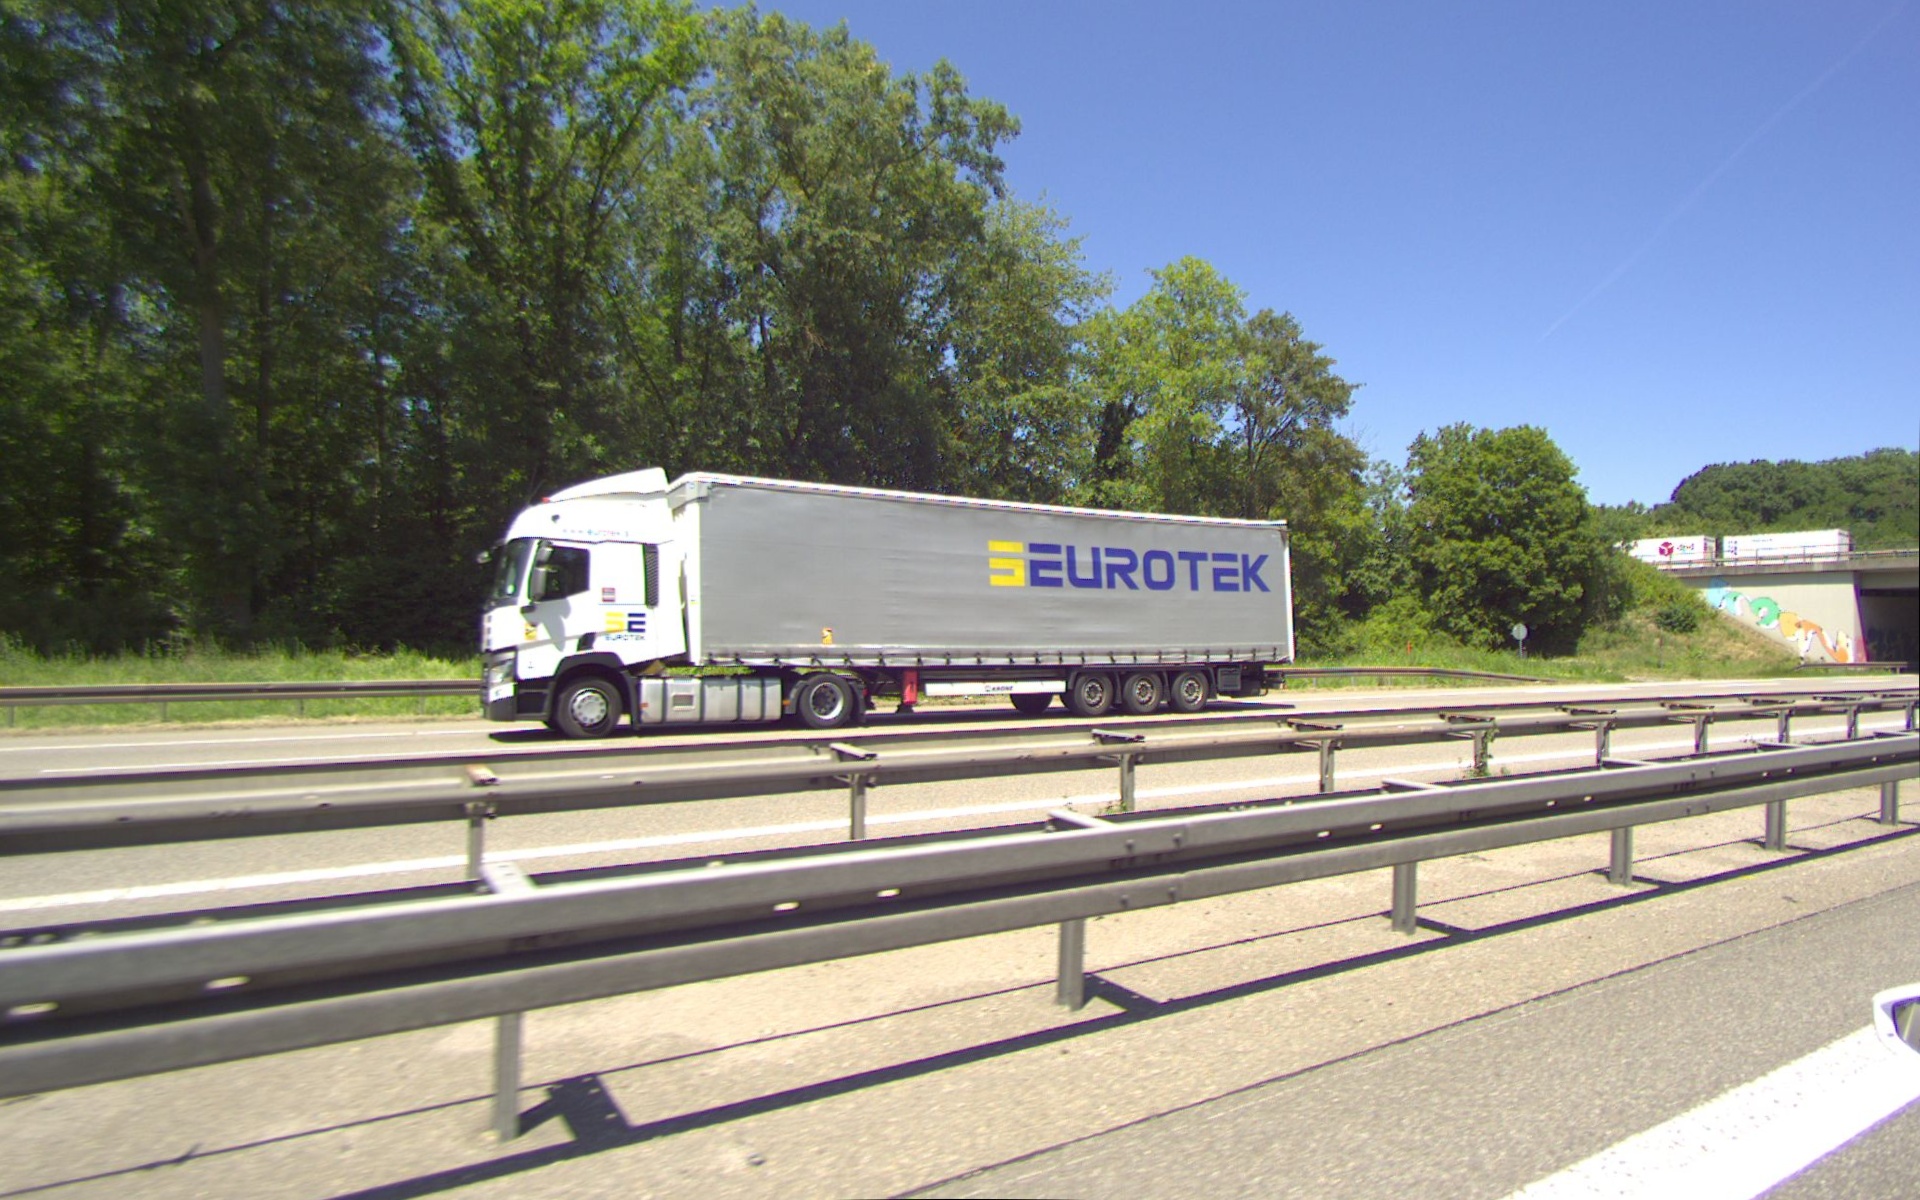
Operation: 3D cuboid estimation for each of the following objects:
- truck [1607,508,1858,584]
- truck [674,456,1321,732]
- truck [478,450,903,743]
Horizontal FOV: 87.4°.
[{"bbox_3d":[63.930,-4.205,83.994,3.145,5.639,16.343,2,0,-36],"label":"truck"},{"bbox_3d":[1.488,0.187,20.544,13.802,4.306,3.051,2,-4,-31],"label":"truck"},{"bbox_3d":[-4.461,0.115,16.973,6.383,4.114,2.957,2,-4,-30],"label":"truck"}]
